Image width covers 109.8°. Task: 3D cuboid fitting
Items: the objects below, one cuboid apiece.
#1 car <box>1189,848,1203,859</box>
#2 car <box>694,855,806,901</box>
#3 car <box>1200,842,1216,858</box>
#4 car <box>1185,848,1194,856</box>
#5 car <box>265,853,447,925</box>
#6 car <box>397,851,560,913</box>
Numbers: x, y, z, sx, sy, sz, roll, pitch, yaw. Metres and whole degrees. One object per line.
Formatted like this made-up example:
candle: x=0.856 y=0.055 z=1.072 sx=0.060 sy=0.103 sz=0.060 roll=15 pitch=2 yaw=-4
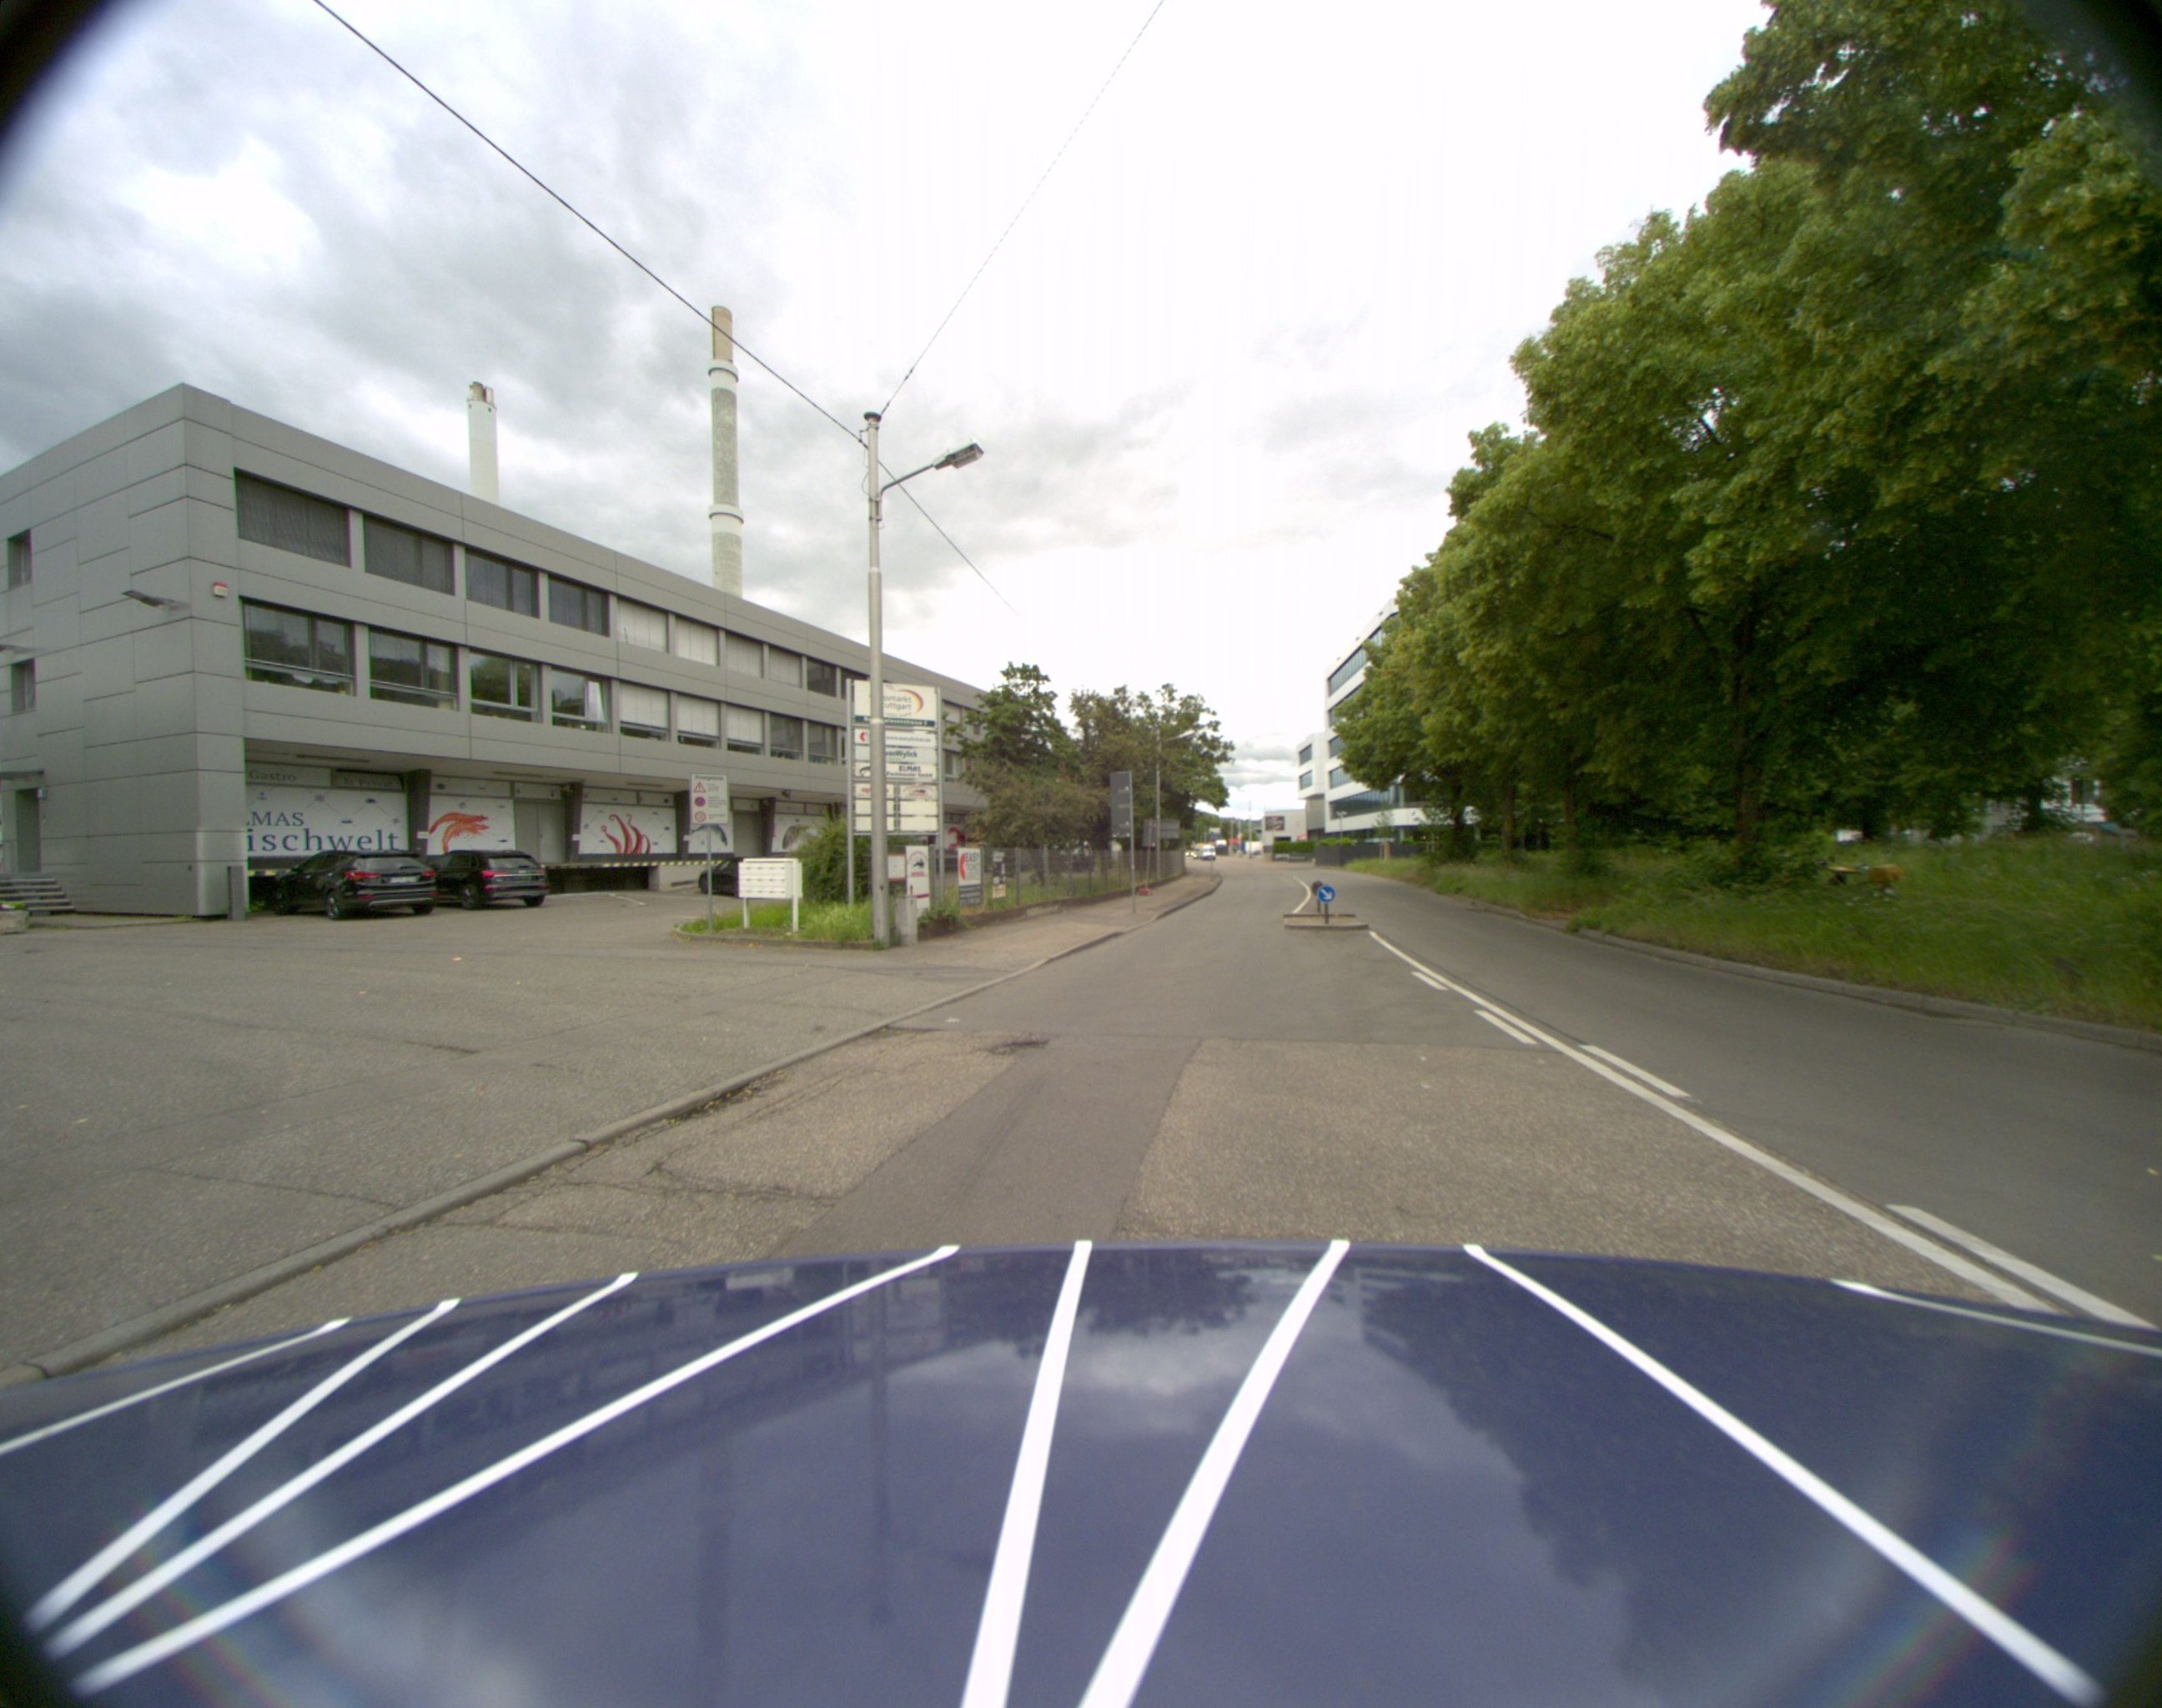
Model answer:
car: x=20.770 y=-0.142 z=137.614 sx=2.386 sy=1.859 sz=5.210 roll=-2 pitch=1 yaw=9
car: x=-12.603 y=0.834 z=28.782 sx=4.813 sy=1.437 sz=2.055 roll=2 pitch=2 yaw=42
car: x=20.860 y=-0.719 z=125.107 sx=2.386 sy=2.444 sz=6.104 roll=-2 pitch=1 yaw=9
car: x=29.575 y=-0.548 z=206.709 sx=2.386 sy=1.859 sz=5.210 roll=-2 pitch=1 yaw=9
car: x=-18.567 y=0.805 z=19.442 sx=4.453 sy=1.609 sz=1.842 roll=1 pitch=1 yaw=25
car: x=-17.488 y=0.743 z=22.044 sx=4.412 sy=1.609 sz=1.842 roll=1 pitch=1 yaw=24
